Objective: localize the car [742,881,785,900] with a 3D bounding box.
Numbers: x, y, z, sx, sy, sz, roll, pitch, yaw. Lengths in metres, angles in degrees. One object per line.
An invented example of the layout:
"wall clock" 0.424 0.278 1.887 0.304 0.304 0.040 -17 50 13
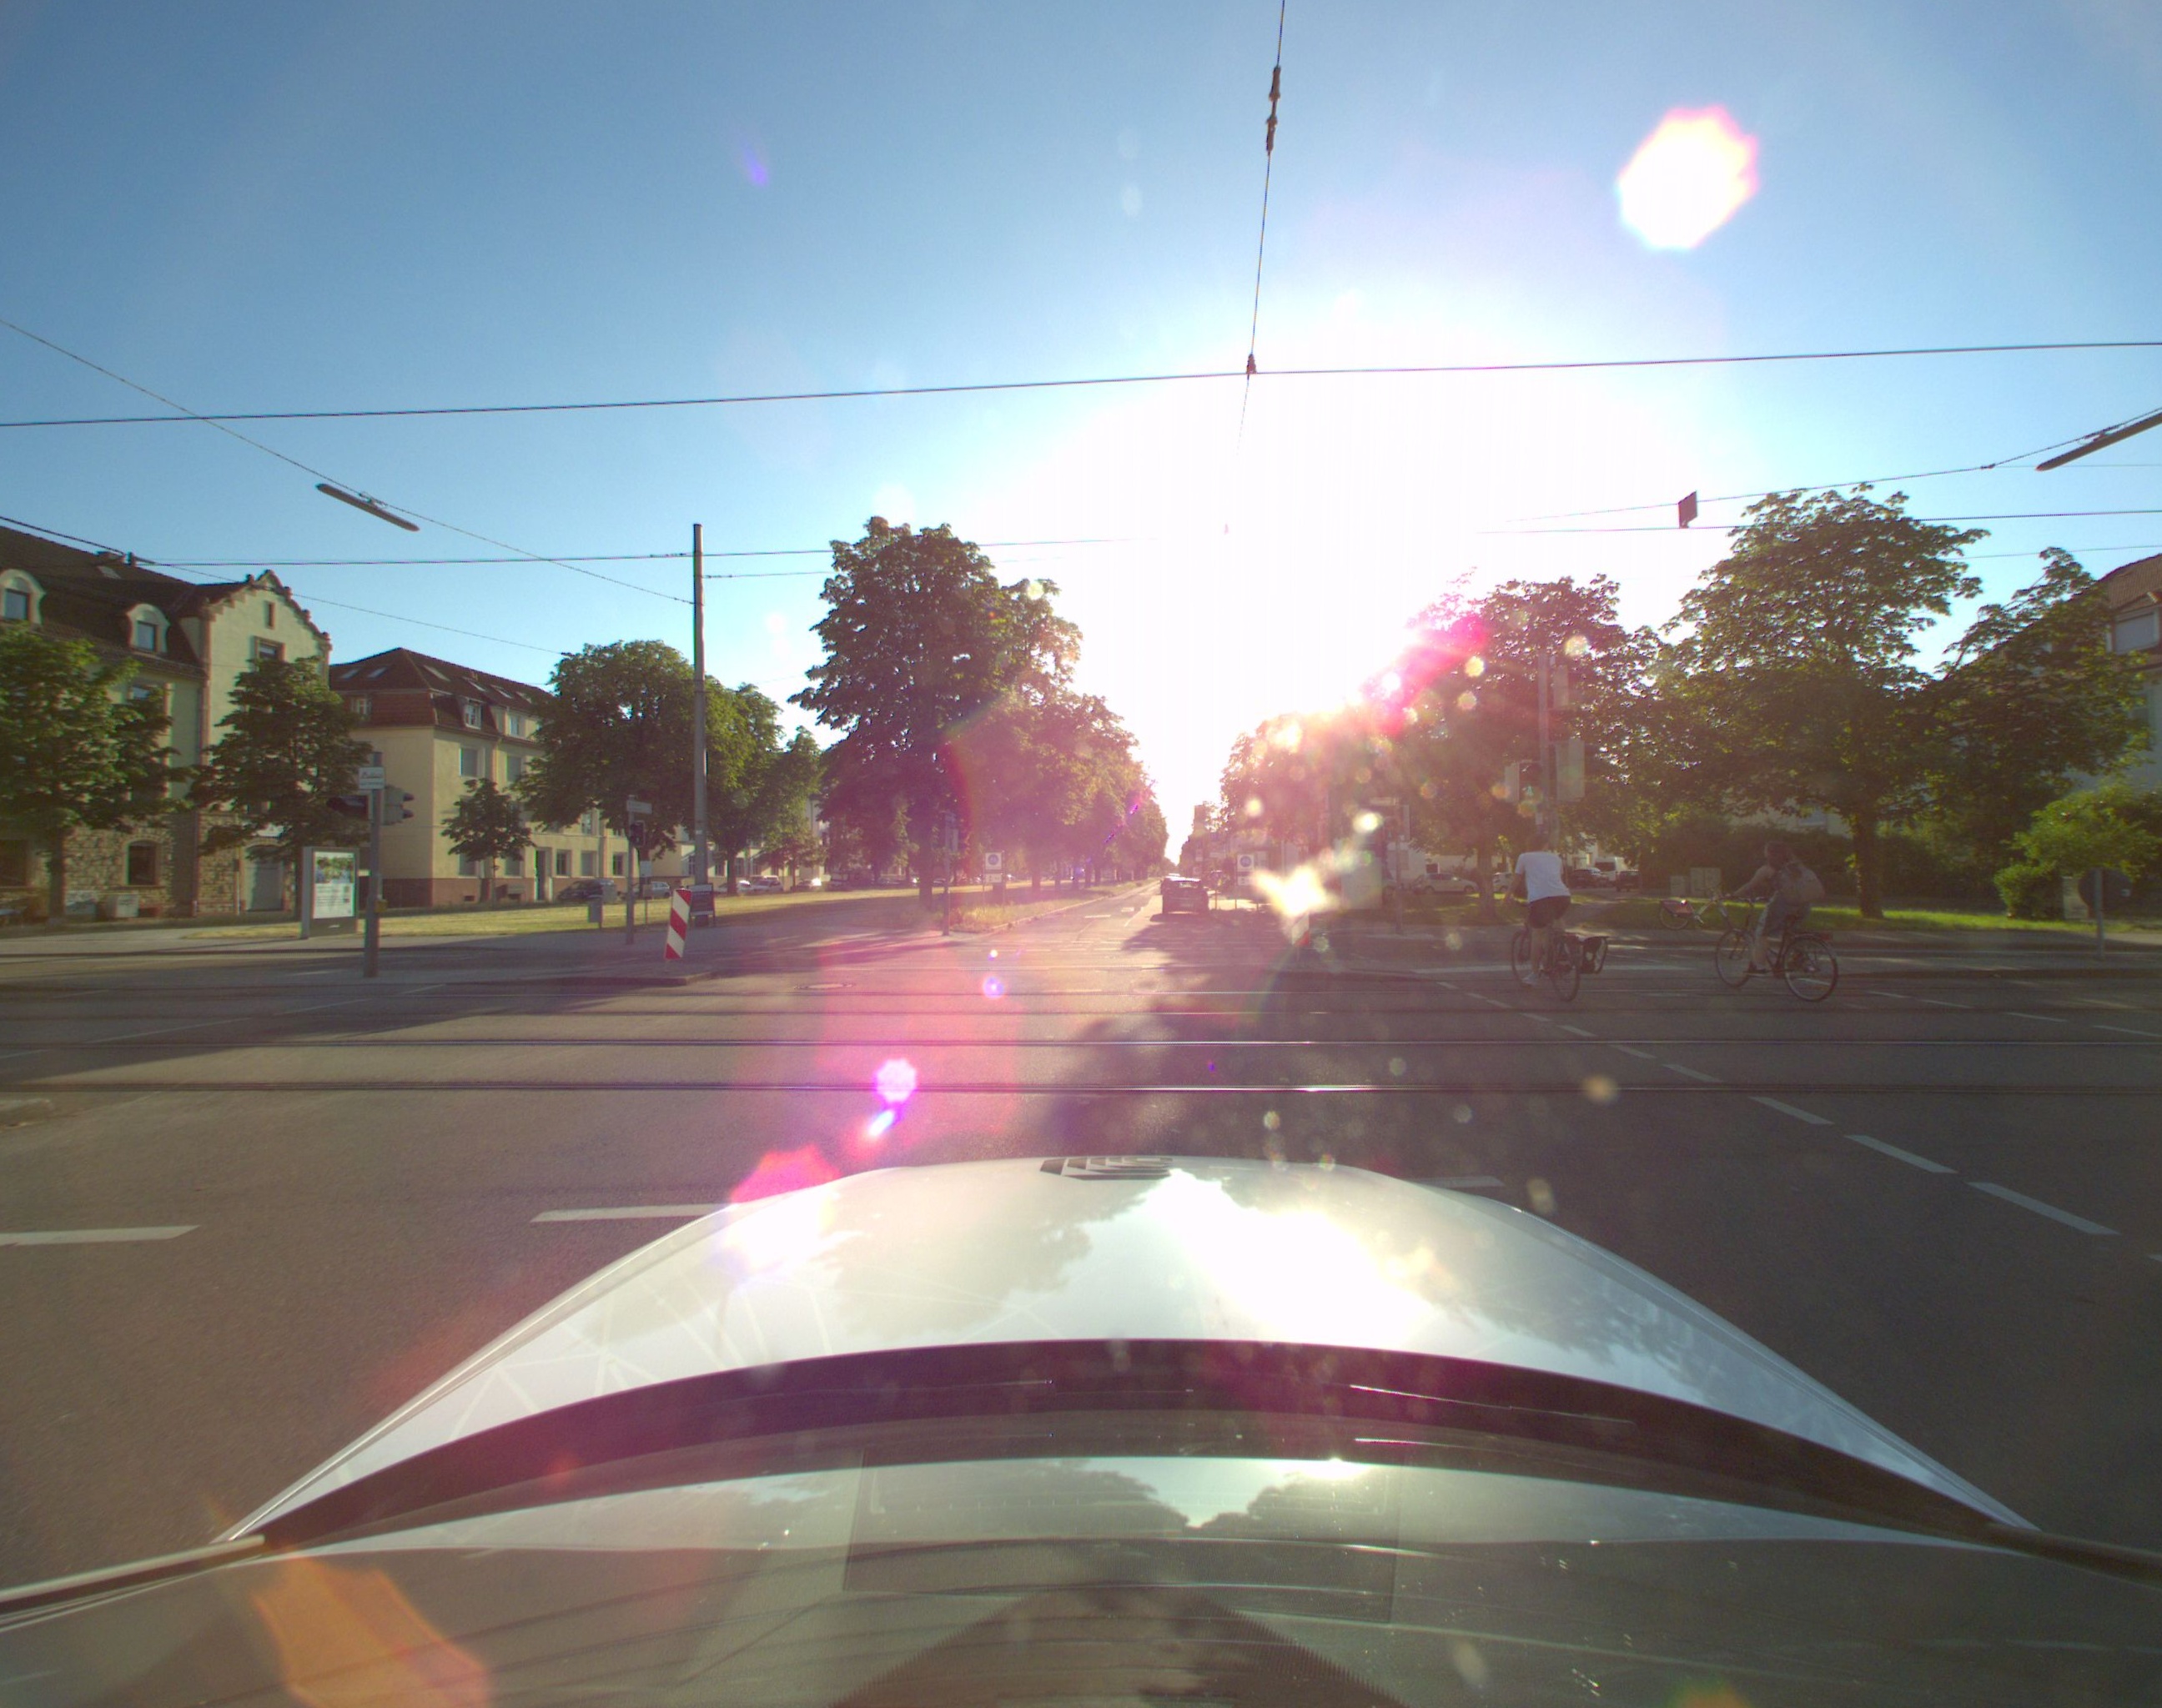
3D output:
"car" -28.730 3.275 73.829 1.787 1.554 4.425 2 -1 5

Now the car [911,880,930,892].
"car" -26.830 5.330 135.940 1.984 2.014 4.004 1 -2 5

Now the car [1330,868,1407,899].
"car" 18.107 1.864 51.396 4.220 1.875 2.034 -1 -3 6

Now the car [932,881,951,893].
"car" -22.084 5.242 128.951 1.801 1.781 4.130 1 -2 7

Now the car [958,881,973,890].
"car" -23.464 6.461 165.583 1.982 1.659 4.364 1 -2 8

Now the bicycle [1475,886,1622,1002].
"bicycle" 5.350 0.982 9.462 0.571 1.184 1.903 2 -2 -2

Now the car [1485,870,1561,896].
"car" 27.414 1.820 50.585 3.907 1.524 1.524 1 -3 1

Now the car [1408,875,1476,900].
"car" 22.371 2.063 50.549 3.541 1.516 1.605 0 -2 0

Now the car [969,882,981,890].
"car" -22.430 6.866 173.009 1.632 1.643 3.859 1 -2 5

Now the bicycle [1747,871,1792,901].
"bicycle" 31.093 1.464 36.806 0.447 1.239 1.955 2 -5 3

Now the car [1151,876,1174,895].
"car" 6.572 2.542 65.401 1.700 1.360 4.210 1 -2 7

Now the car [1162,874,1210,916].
"car" 4.154 1.612 32.014 1.716 1.511 4.550 0 -3 8

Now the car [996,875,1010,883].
"car" -17.173 5.513 179.370 1.983 1.659 4.578 -1 -2 6

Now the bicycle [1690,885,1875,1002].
"bicycle" 7.927 0.951 9.334 0.489 1.184 1.965 2 -2 3

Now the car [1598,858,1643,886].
"car" 46.988 1.590 70.921 4.541 2.338 2.088 4 -3 -40

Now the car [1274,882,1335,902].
"car" 15.906 2.723 58.145 3.967 1.447 1.718 0 -3 6

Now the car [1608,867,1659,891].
"car" 37.624 1.693 55.440 4.022 1.552 1.975 1 -2 -43

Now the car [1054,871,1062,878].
"car" -6.891 6.110 245.250 1.646 1.939 3.572 1 -4 6

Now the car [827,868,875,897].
"car" -26.289 3.235 93.496 2.379 3.131 7.866 2 -1 7

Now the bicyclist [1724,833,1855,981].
"bicyclist" 7.956 0.586 9.189 0.709 1.563 0.894 2 -3 2

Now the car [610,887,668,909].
"car" -35.474 3.509 65.502 1.982 1.659 4.008 1 -2 8

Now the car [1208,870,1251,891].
"car" 14.580 2.577 80.122 3.971 1.823 1.760 -1 -8 2

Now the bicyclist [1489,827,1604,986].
"bicyclist" 5.350 0.592 9.410 0.812 1.732 0.893 2 -3 -2

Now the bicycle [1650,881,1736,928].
"bicycle" 14.218 1.172 18.953 1.511 1.089 0.469 -1 -3 14

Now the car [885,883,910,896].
"car" -24.535 4.749 108.877 1.869 1.674 4.323 1 -2 7

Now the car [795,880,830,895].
"car" -31.411 3.943 95.494 1.982 1.659 4.580 1 -2 8

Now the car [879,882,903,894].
"car" -27.850 5.040 119.608 1.982 1.659 4.383 1 -2 8

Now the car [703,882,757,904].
"car" -29.254 3.247 68.065 1.982 1.659 4.580 1 -2 8

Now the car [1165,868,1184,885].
"car" 10.460 2.540 91.055 1.984 1.782 4.006 1 -1 6

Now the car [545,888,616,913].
"car" -36.434 3.379 59.431 1.982 1.736 4.320 1 -2 8
